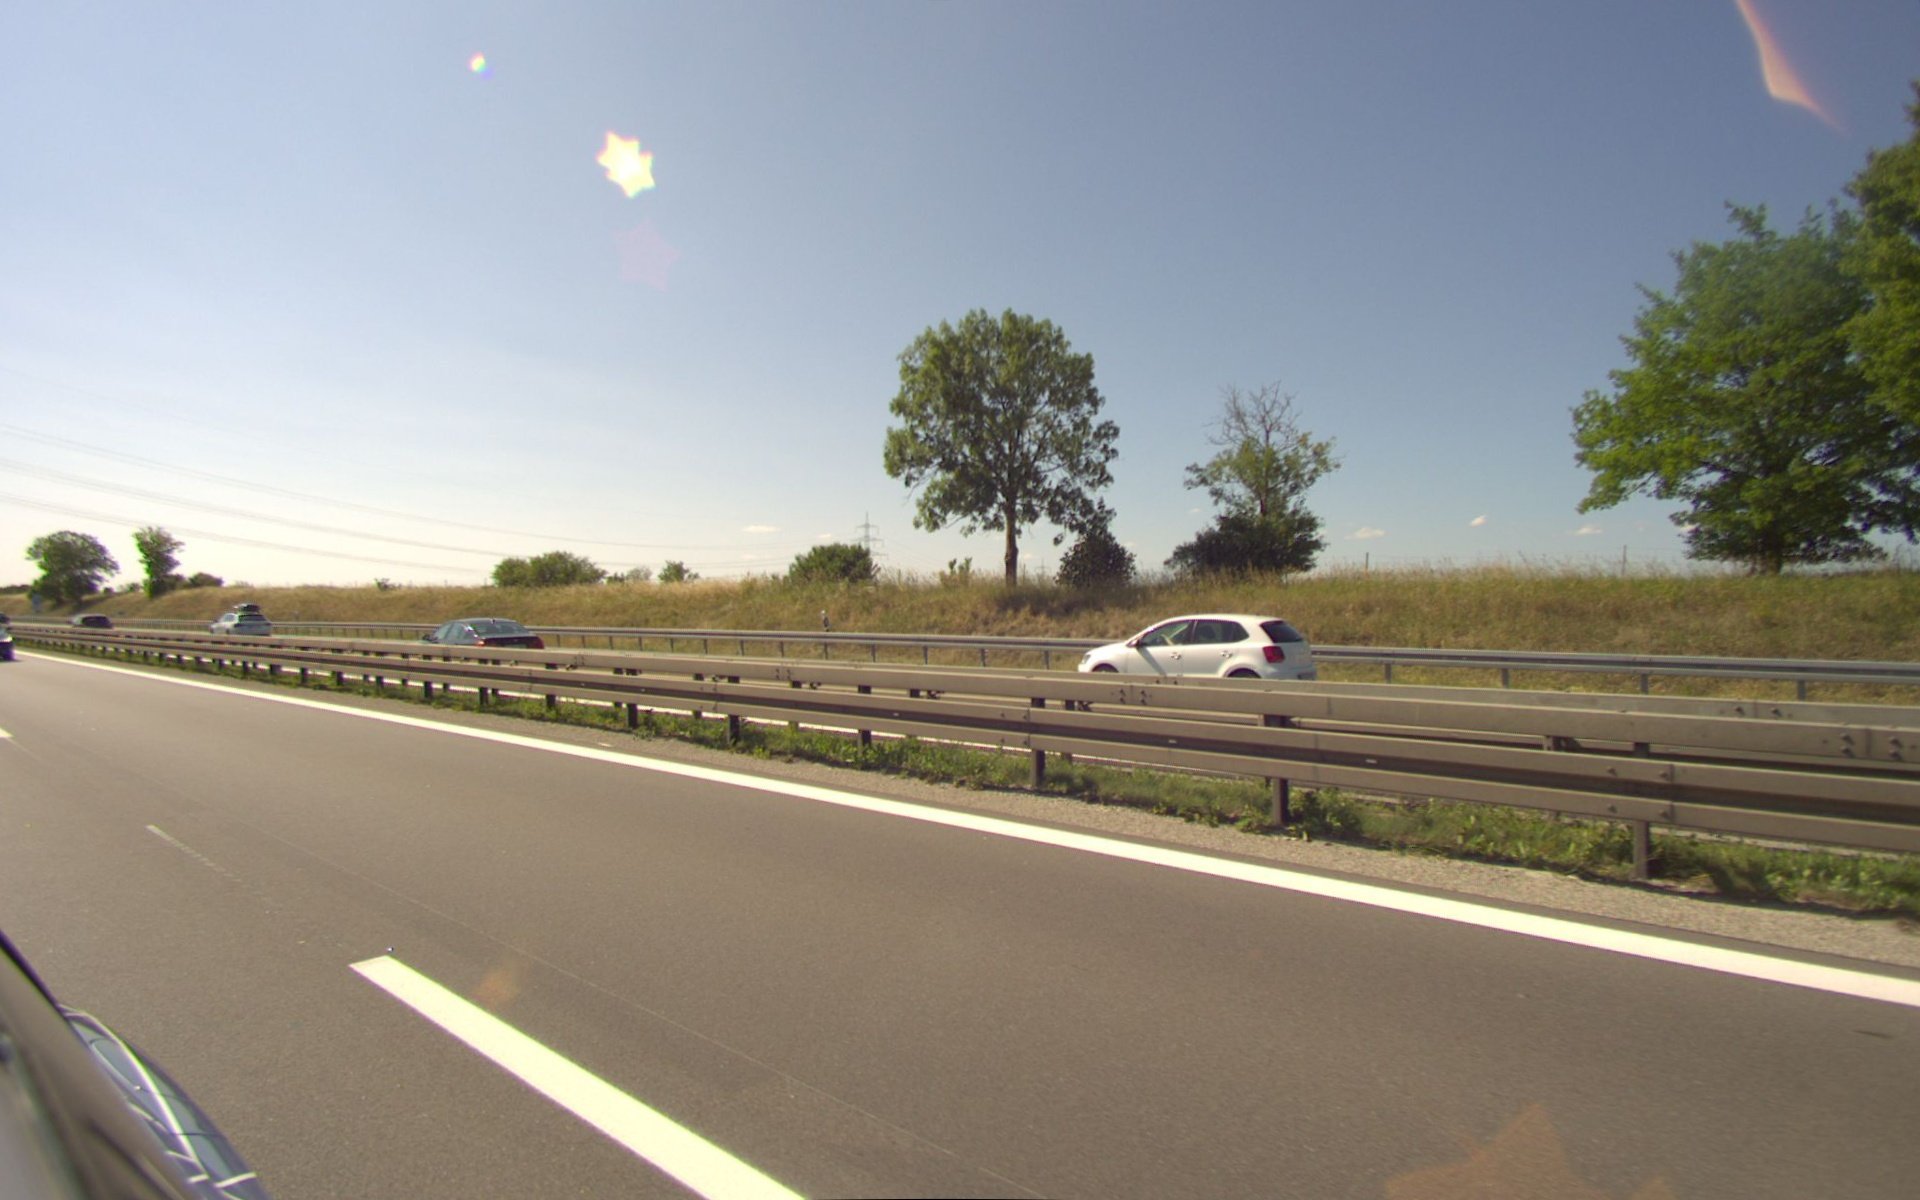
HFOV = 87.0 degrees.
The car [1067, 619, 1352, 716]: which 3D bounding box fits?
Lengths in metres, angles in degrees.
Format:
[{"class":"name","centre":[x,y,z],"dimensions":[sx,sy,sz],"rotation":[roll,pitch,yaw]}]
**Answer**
[{"class":"car","centre":[3.890,0.990,16.241],"dimensions":[4.230,1.363,1.506],"rotation":[-1,-1,41]}]

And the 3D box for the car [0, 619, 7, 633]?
[{"class":"car","centre":[-101.614,2.736,106.271],"dimensions":[5.238,1.478,1.707],"rotation":[-1,-1,41]}]

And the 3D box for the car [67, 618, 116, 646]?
[{"class":"car","centre":[-50.483,1.848,58.789],"dimensions":[3.998,1.542,1.599],"rotation":[-1,-1,41]}]

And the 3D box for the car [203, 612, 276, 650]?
[{"class":"car","centre":[-36.995,1.573,51.938],"dimensions":[5.181,1.859,1.925],"rotation":[-1,-1,41]}]

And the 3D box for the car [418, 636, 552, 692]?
[{"class":"car","centre":[-11.311,1.459,23.982],"dimensions":[3.764,1.165,1.506],"rotation":[-1,-1,41]}]

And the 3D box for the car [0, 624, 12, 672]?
[{"class":"car","centre":[-31.337,1.440,31.658],"dimensions":[5.862,1.444,1.828],"rotation":[-1,-3,41]}]
